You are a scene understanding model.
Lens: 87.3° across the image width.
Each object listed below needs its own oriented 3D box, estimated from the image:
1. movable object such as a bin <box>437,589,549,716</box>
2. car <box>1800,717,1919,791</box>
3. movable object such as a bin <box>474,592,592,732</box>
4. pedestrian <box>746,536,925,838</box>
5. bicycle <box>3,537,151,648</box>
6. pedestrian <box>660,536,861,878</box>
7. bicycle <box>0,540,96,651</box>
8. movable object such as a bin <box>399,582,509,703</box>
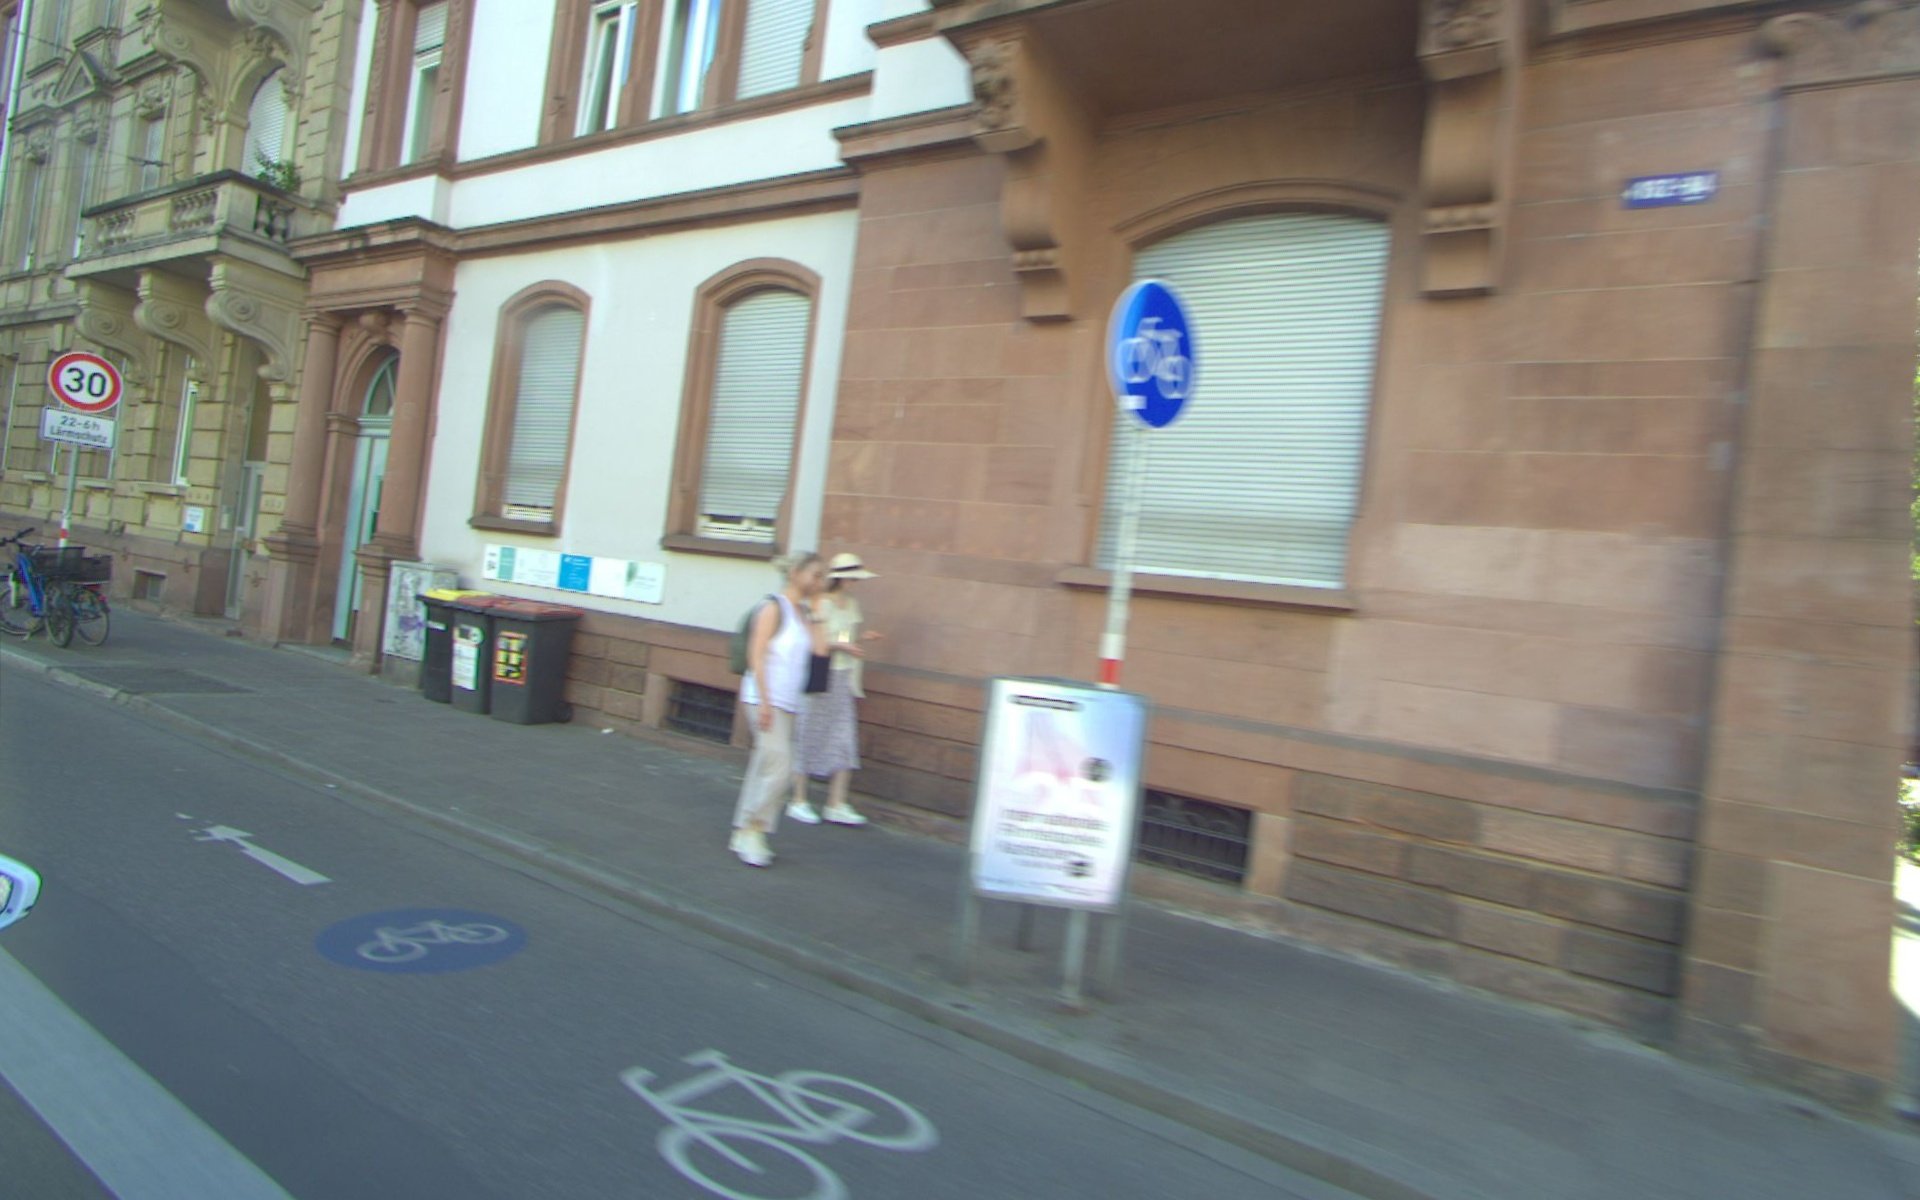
[{"bbox_3d":[-4.387,0.492,9.466,0.561,1.090,0.666,7,1,31],"label":"movable object such as a bin"},{"bbox_3d":[32.299,5.488,35.276,3.926,1.885,1.638,10,1,5],"label":"car"},{"bbox_3d":[-3.877,0.561,9.152,0.584,1.168,0.666,7,1,31],"label":"movable object such as a bin"},{"bbox_3d":[-0.802,0.547,6.583,0.661,1.804,0.706,7,0,30],"label":"pedestrian"},{"bbox_3d":[-9.346,-0.084,10.632,1.732,0.959,0.432,7,0,25],"label":"bicycle"},{"bbox_3d":[-1.098,0.566,5.618,0.670,1.722,0.628,7,0,23],"label":"pedestrian"},{"bbox_3d":[-9.551,-0.080,10.213,1.732,0.959,0.432,7,0,25],"label":"bicycle"},{"bbox_3d":[-4.923,0.417,9.807,0.561,1.090,0.666,7,1,31],"label":"movable object such as a bin"}]
